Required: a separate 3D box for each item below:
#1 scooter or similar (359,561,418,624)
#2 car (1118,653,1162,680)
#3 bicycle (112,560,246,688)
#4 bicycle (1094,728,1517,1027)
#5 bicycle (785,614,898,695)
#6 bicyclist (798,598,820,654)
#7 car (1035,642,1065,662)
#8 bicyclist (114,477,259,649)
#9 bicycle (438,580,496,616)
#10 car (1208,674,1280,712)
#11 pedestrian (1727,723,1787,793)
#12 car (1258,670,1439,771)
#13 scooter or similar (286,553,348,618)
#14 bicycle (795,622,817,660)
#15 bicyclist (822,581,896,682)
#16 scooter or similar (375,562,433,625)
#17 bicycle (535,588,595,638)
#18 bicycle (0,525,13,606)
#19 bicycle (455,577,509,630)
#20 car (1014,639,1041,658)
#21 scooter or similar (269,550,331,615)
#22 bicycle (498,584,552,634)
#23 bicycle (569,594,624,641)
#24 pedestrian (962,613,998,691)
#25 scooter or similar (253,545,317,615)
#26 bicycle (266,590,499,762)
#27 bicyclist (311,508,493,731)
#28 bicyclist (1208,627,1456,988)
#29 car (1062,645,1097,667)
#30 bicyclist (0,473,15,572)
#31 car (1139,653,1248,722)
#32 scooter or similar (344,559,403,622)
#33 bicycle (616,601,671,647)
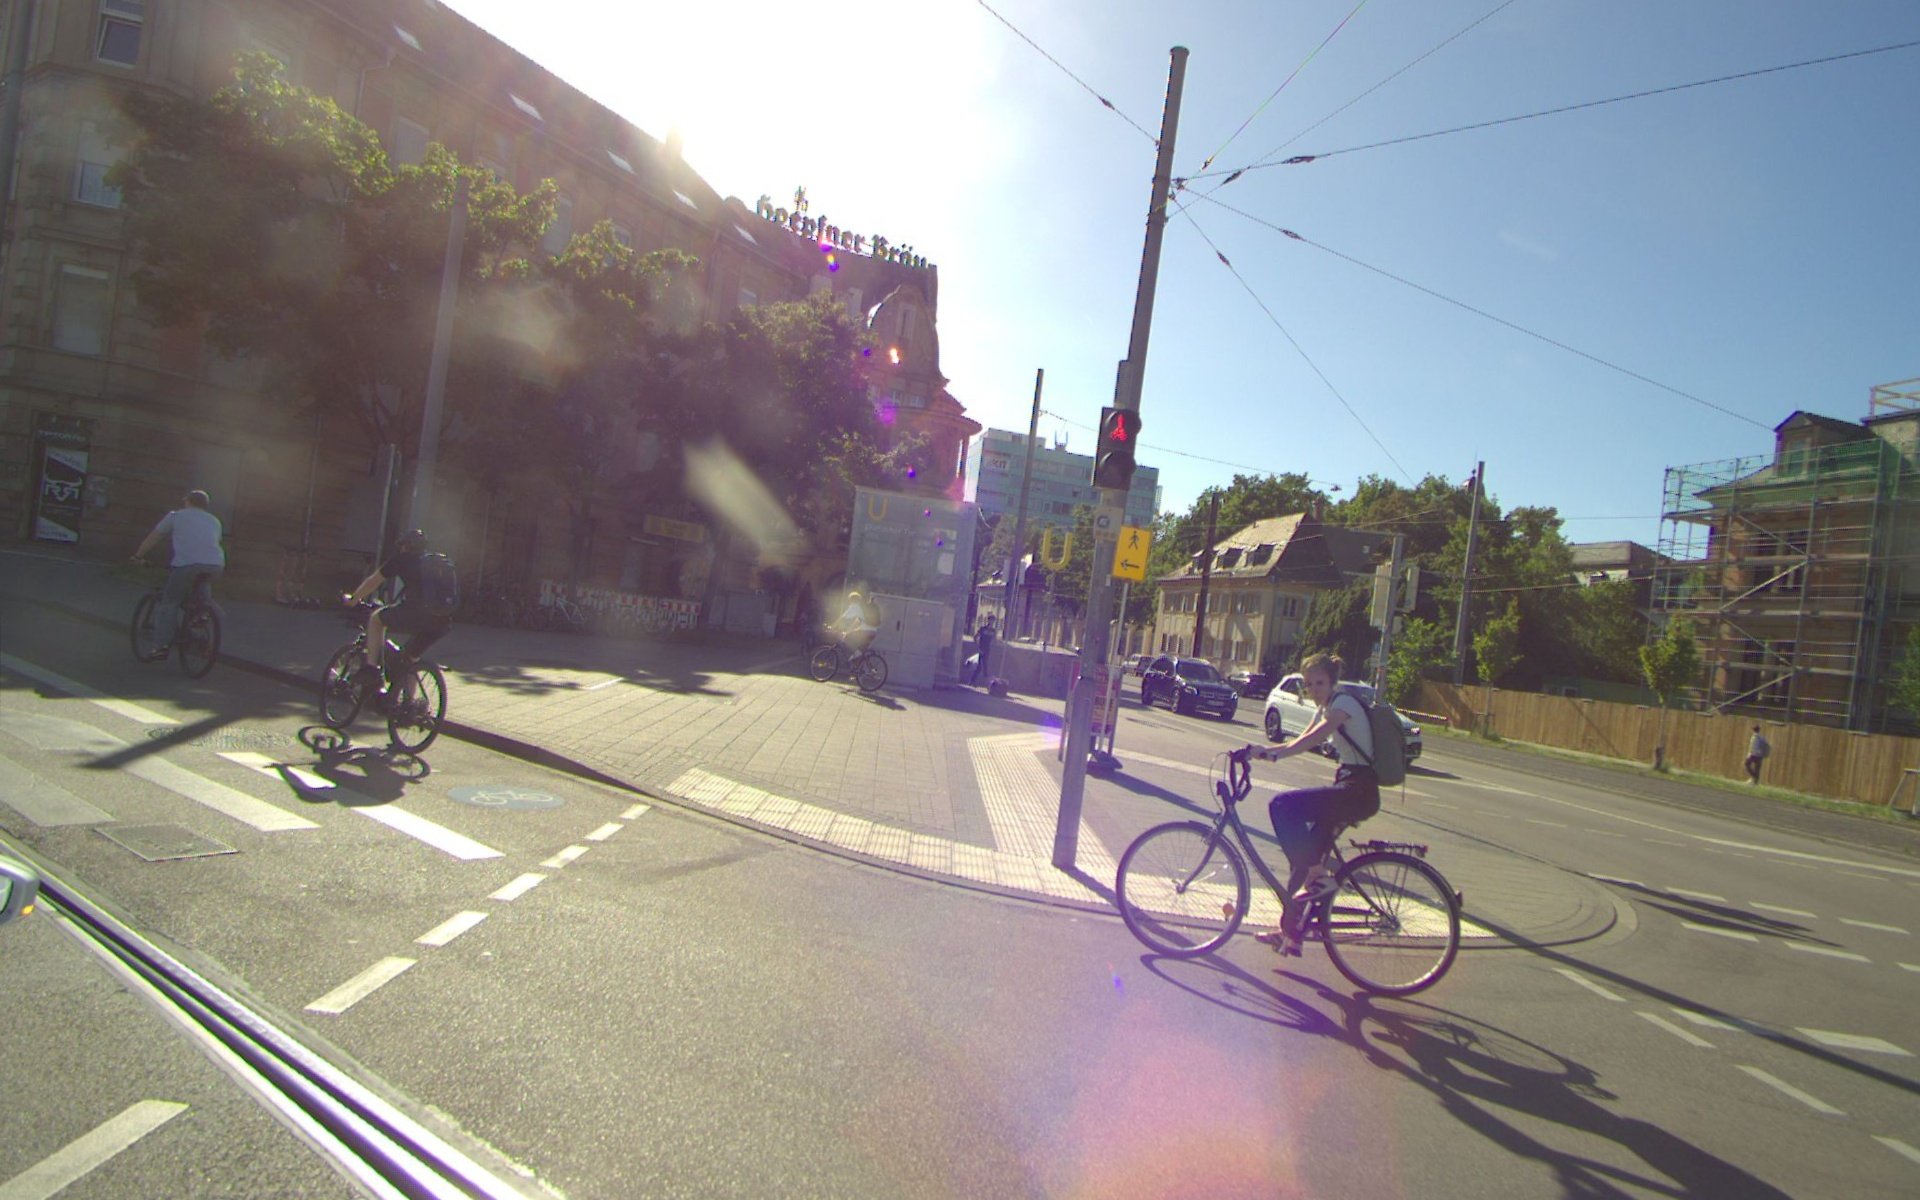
[{"bbox_3d":[-12.179,-0.172,21.417,1.539,1.198,0.270,6,-2,33],"label":"scooter or similar"},{"bbox_3d":[13.399,4.925,75.044,1.887,1.640,3.816,6,-2,-10],"label":"car"},{"bbox_3d":[-8.024,0.225,10.304,1.902,1.081,0.386,6,-1,33],"label":"bicycle"},{"bbox_3d":[1.716,1.380,5.227,1.897,1.130,0.534,7,-2,8],"label":"bicycle"},{"bbox_3d":[-2.117,0.961,17.897,1.900,1.130,0.533,8,-1,29],"label":"bicycle"},{"bbox_3d":[-4.694,0.824,31.330,0.447,1.679,1.046,8,-2,-8],"label":"bicyclist"},{"bbox_3d":[8.930,5.117,99.903,1.887,1.640,3.816,6,-2,-10],"label":"car"},{"bbox_3d":[-7.916,-0.372,10.300,0.871,1.612,0.783,7,-1,32],"label":"bicyclist"},{"bbox_3d":[-14.600,-0.055,29.837,0.398,0.865,1.418,6,-3,39],"label":"bicycle"},{"bbox_3d":[16.467,5.381,58.556,1.972,1.635,3.987,9,-3,-18],"label":"car"},{"bbox_3d":[25.662,5.077,32.405,0.852,2.036,1.085,8,-2,-16],"label":"pedestrian"},{"bbox_3d":[8.390,2.558,22.194,1.885,1.640,4.250,6,-2,-6],"label":"car"},{"bbox_3d":[-13.091,-0.309,20.457,1.676,1.176,0.270,6,-2,33],"label":"scooter or similar"},{"bbox_3d":[-4.766,1.247,31.260,0.480,1.070,2.194,8,-2,-7],"label":"bicycle"},{"bbox_3d":[-1.783,0.559,17.806,0.935,1.631,0.600,7,-2,23],"label":"bicyclist"},{"bbox_3d":[-11.998,-0.148,21.695,1.539,1.209,0.270,6,-2,33],"label":"scooter or similar"},{"bbox_3d":[-9.977,0.328,25.398,1.326,1.073,0.405,7,-2,17],"label":"bicycle"},{"bbox_3d":[-14.405,-0.601,14.374,1.899,1.130,0.533,7,-2,27],"label":"bicycle"},{"bbox_3d":[-11.142,0.073,23.430,1.460,1.073,0.403,6,-3,38],"label":"bicycle"},{"bbox_3d":[7.135,5.108,106.631,1.887,1.640,3.816,6,-2,-10],"label":"car"},{"bbox_3d":[-13.239,-0.363,20.167,1.676,1.170,0.270,6,-2,33],"label":"scooter or similar"},{"bbox_3d":[-10.587,0.210,24.481,1.330,1.073,0.404,6,-2,33],"label":"bicycle"},{"bbox_3d":[-9.709,0.453,26.831,1.437,1.073,0.404,6,-2,29],"label":"bicycle"},{"bbox_3d":[0.496,1.294,25.285,0.538,1.869,0.649,8,-2,-10],"label":"pedestrian"},{"bbox_3d":[-13.365,-0.413,19.900,1.676,1.233,0.270,6,-2,33],"label":"scooter or similar"},{"bbox_3d":[-4.699,0.582,8.157,1.899,1.131,0.533,6,-1,24],"label":"bicycle"},{"bbox_3d":[-4.467,0.157,8.078,0.963,1.631,0.626,7,-2,22],"label":"bicyclist"},{"bbox_3d":[1.890,1.026,5.216,0.935,1.631,0.552,7,-2,7],"label":"bicyclist"},{"bbox_3d":[10.568,4.919,89.218,1.887,1.640,3.816,6,-2,-10],"label":"car"},{"bbox_3d":[-14.155,-1.015,14.226,1.101,1.702,0.683,6,-2,29],"label":"bicyclist"},{"bbox_3d":[7.141,2.649,31.207,1.885,1.706,4.250,6,-2,-6],"label":"car"},{"bbox_3d":[-12.335,-0.210,21.143,1.539,1.198,0.270,6,-2,33],"label":"scooter or similar"},{"bbox_3d":[-8.687,0.660,27.620,1.436,1.073,0.404,6,-2,26],"label":"bicycle"}]
